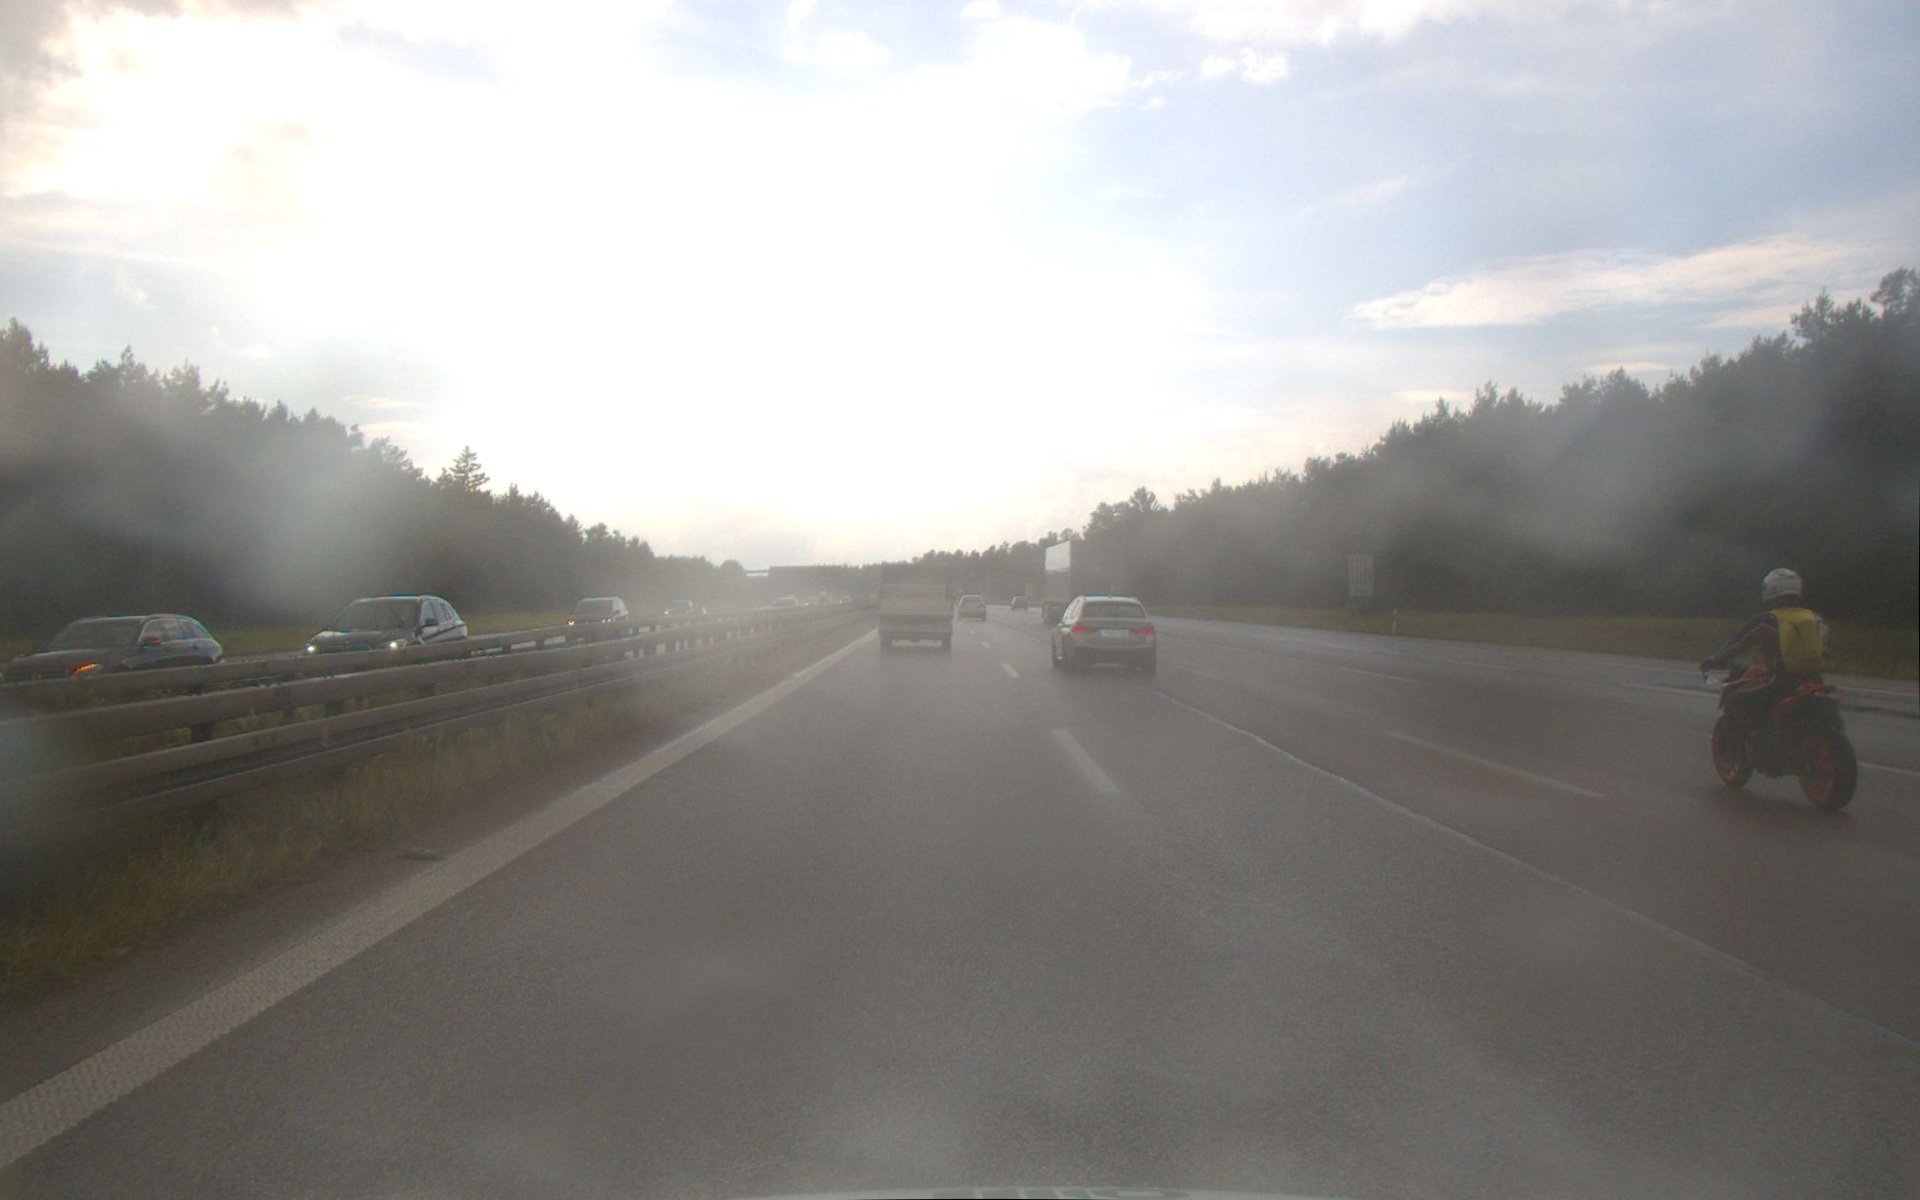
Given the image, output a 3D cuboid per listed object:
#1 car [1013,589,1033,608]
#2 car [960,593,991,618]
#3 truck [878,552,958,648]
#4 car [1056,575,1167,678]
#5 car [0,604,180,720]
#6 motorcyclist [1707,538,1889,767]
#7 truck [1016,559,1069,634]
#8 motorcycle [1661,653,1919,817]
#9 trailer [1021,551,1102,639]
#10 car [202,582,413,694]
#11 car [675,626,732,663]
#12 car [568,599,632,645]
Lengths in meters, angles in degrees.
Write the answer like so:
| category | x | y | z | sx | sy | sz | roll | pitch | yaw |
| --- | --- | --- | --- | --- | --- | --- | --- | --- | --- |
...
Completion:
| category | x | y | z | sx | sy | sz | roll | pitch | yaw |
| --- | --- | --- | --- | --- | --- | --- | --- | --- | --- |
| car | 6.891 | -0.173 | 182.588 | 1.953 | 2.049 | 3.999 | 1 | 0 | -1 |
| car | 0.924 | 0.316 | 100.561 | 1.793 | 1.492 | 4.000 | 0 | 0 | 0 |
| truck | -1.190 | -0.016 | 46.316 | 2.094 | 2.532 | 5.311 | 0 | 0 | -2 |
| car | 3.014 | 0.486 | 33.781 | 2.034 | 1.918 | 5.013 | 1 | 0 | 3 |
| car | -13.751 | 0.893 | 25.460 | 1.717 | 1.607 | 3.847 | -1 | 0 | -1 |
| motorcyclist | 6.226 | 0.377 | 12.340 | 0.873 | 1.643 | 0.959 | 0 | 0 | 0 |
| truck | 4.444 | -0.180 | 89.725 | 2.248 | 3.935 | 5.387 | 0 | 0 | -4 |
| motorcycle | 6.243 | 0.964 | 12.498 | 0.979 | 1.049 | 2.174 | 0 | 0 | 0 |
| trailer | 4.927 | -0.231 | 82.889 | 2.278 | 4.071 | 13.400 | 0 | 0 | -4 |
| car | -10.054 | 0.540 | 25.772 | 1.753 | 1.569 | 3.722 | -2 | 0 | 0 |
| car | -10.003 | 1.718 | 64.686 | 1.660 | 1.282 | 4.061 | -2 | 1 | -1 |
| car | -14.512 | 0.870 | 66.906 | 1.689 | 1.713 | 4.136 | -3 | 0 | -1 |
